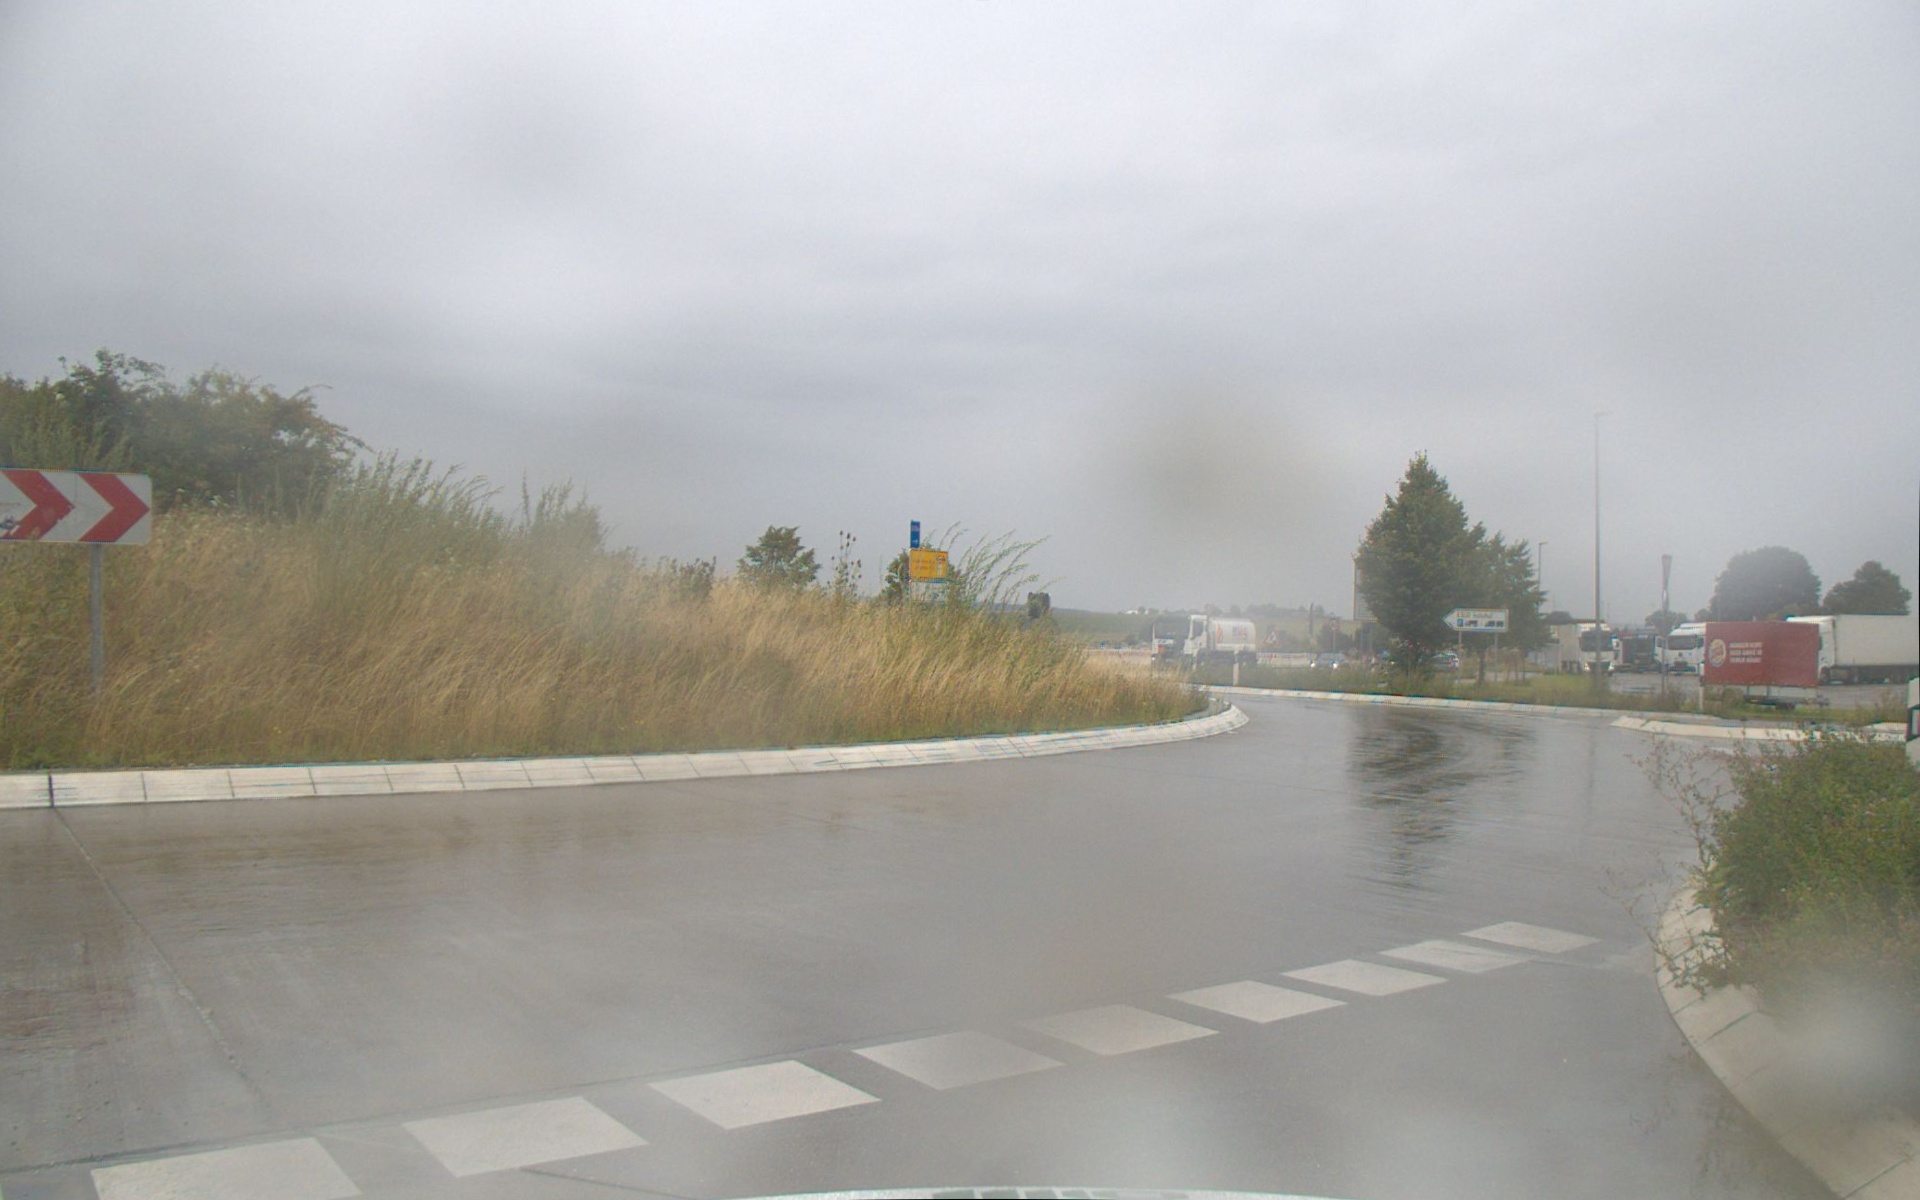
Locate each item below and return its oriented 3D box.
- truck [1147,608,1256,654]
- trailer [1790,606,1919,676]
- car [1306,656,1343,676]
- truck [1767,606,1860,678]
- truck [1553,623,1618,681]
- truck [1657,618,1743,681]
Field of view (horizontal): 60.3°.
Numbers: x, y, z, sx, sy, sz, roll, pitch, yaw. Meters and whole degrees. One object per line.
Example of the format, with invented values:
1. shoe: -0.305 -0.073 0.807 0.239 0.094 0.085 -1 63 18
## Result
1. truck: 12.589 1.625 85.413 2.465 2.262 8.390 -1 -1 32
2. trailer: 54.733 2.543 99.790 13.002 4.017 3.239 2 -2 -39
3. car: 23.590 4.267 106.873 1.500 1.232 3.608 0 -2 27
4. truck: 49.158 2.435 95.268 4.415 4.017 3.239 2 -2 -38
5. truck: 48.935 4.091 129.621 2.837 4.365 8.818 0 -2 8
6. truck: 58.385 3.926 130.309 3.293 4.819 11.135 -1 -2 40
